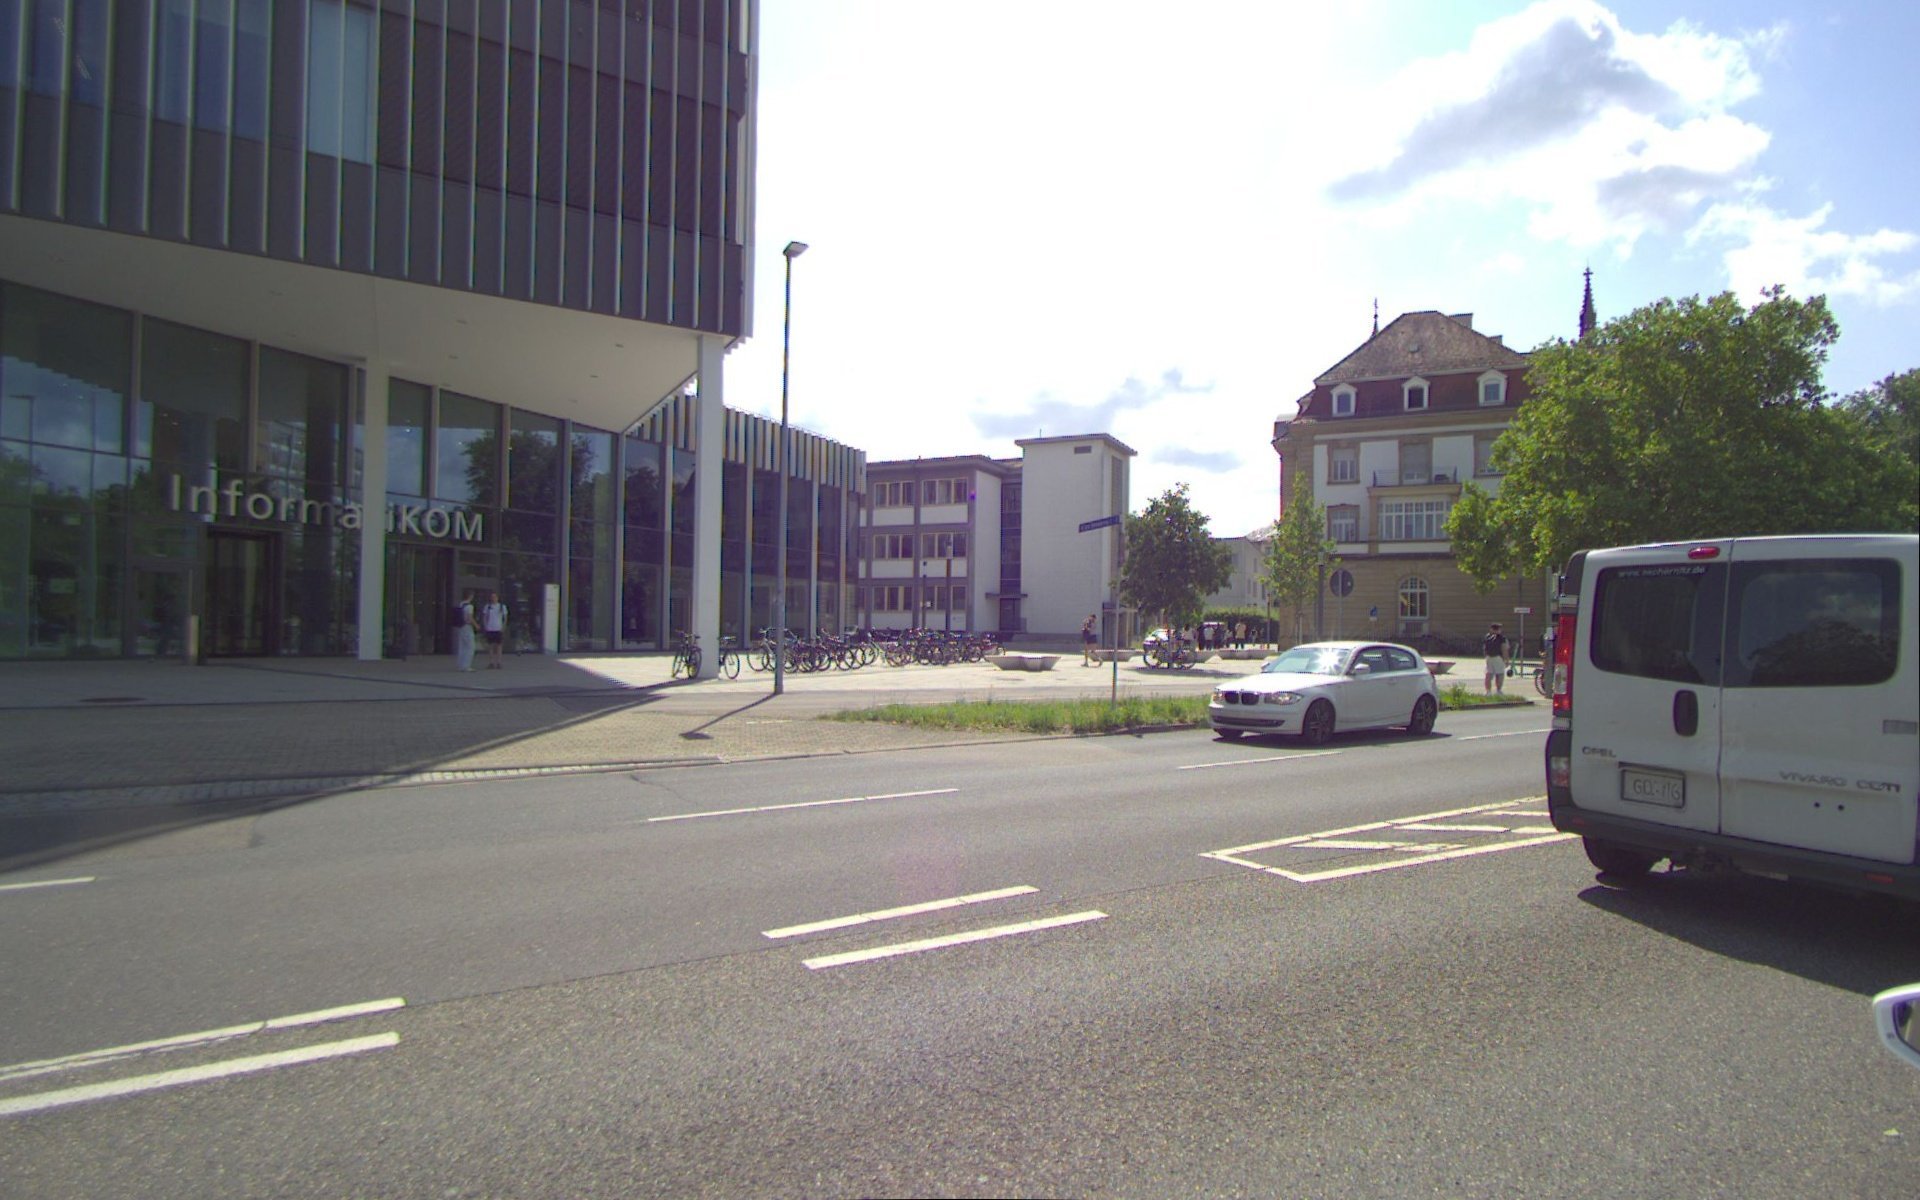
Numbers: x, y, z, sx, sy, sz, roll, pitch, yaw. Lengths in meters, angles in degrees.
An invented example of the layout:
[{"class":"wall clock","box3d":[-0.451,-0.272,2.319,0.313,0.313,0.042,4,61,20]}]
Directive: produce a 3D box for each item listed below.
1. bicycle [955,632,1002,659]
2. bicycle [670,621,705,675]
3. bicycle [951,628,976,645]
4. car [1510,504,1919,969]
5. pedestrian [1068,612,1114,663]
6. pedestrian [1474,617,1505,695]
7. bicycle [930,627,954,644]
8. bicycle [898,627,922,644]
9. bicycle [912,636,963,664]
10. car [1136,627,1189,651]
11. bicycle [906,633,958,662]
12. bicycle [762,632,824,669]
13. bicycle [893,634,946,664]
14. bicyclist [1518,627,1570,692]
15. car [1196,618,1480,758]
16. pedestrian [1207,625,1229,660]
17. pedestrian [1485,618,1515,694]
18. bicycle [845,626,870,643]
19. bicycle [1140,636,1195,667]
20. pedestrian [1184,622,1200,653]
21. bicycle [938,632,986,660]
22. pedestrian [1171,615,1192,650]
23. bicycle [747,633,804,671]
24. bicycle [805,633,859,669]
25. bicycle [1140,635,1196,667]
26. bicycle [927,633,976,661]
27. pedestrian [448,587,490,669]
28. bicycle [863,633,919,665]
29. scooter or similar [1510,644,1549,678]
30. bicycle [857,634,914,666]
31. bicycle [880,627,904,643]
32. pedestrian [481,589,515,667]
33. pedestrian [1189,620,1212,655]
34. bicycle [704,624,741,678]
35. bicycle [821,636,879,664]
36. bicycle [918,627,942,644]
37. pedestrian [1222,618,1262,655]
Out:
[{"class":"bicycle","box3d":[0.733,1.771,39.209,1.737,0.968,0.529,1,-1,8]},{"class":"bicycle","box3d":[-6.585,1.149,24.224,0.369,1.203,1.533,3,-1,-31]},{"class":"bicycle","box3d":[0.205,2.155,59.142,0.520,0.968,1.768,2,-1,34]},{"class":"car","box3d":[5.914,0.651,6.286,5.133,1.981,1.996,2,-1,-31]},{"class":"pedestrian","box3d":[4.392,1.243,33.730,1.003,1.672,1.173,2,-2,-30]},{"class":"pedestrian","box3d":[12.942,1.359,24.562,0.629,1.866,0.473,2,-1,-45]},{"class":"bicycle","box3d":[-1.053,2.107,59.543,0.520,0.968,1.770,2,-1,31]},{"class":"bicycle","box3d":[-3.021,2.136,60.631,0.520,0.968,1.770,2,-1,31]},{"class":"bicycle","box3d":[-0.815,1.802,36.318,1.737,0.968,0.529,1,-1,14]},{"class":"car","box3d":[12.542,2.370,61.996,1.963,1.323,4.488,2,0,28]},{"class":"bicycle","box3d":[-1.001,1.673,35.551,1.737,0.968,0.529,1,-1,14]},{"class":"bicycle","box3d":[-4.665,1.409,28.057,1.739,0.968,0.373,1,-1,21]},{"class":"bicycle","box3d":[-1.404,1.693,34.868,1.737,0.968,0.529,1,-1,14]},{"class":"bicyclist","box3d":[15.149,1.527,26.066,0.649,1.637,0.992,1,-1,-27]},{"class":"car","box3d":[5.839,1.240,15.293,4.684,1.835,1.714,2,-2,-35]},{"class":"pedestrian","box3d":[13.586,2.216,52.916,0.850,1.813,0.842,1,-1,-11]},{"class":"pedestrian","box3d":[13.466,1.381,25.063,0.570,1.866,0.411,2,-1,-35]},{"class":"bicycle","box3d":[-6.316,2.126,61.967,0.520,0.968,1.770,2,-1,31]},{"class":"bicycle","box3d":[6.866,1.691,33.241,1.737,0.968,0.529,1,-1,8]},{"class":"pedestrian","box3d":[13.943,2.249,60.387,0.667,1.813,0.840,0,-1,37]},{"class":"bicycle","box3d":[0.094,1.739,37.990,1.737,0.968,0.529,1,-1,8]},{"class":"pedestrian","box3d":[11.653,1.719,52.804,0.800,1.813,0.842,1,-1,-11]},{"class":"bicycle","box3d":[-4.990,1.392,27.167,1.516,0.968,0.373,1,-1,21]},{"class":"bicycle","box3d":[-3.775,1.495,29.624,1.747,0.968,0.526,1,-1,40]},{"class":"bicycle","box3d":[6.751,1.659,32.656,1.737,0.968,0.529,1,-1,8]},{"class":"bicycle","box3d":[-0.321,1.749,37.314,1.737,0.968,0.529,1,-1,8]},{"class":"pedestrian","box3d":[-11.496,0.651,23.524,0.507,1.866,0.789,2,-1,4]},{"class":"bicycle","box3d":[-2.292,1.613,33.254,1.738,0.968,0.529,1,-1,17]},{"class":"scooter or similar","box3d":[19.200,2.047,33.887,1.131,1.081,0.402,0,-1,33]},{"class":"bicycle","box3d":[-2.424,1.602,32.512,1.738,0.968,0.529,1,-1,17]},{"class":"bicycle","box3d":[-4.138,2.140,61.286,0.520,0.968,1.770,2,-1,31]},{"class":"pedestrian","box3d":[-11.407,0.687,24.810,0.668,1.866,0.687,2,-1,-23]},{"class":"pedestrian","box3d":[12.651,1.947,52.871,0.877,1.813,0.841,1,-1,-14]},{"class":"bicycle","box3d":[-5.784,1.221,24.425,0.369,1.203,1.533,3,-1,-31]},{"class":"bicycle","box3d":[-3.326,1.495,30.303,1.741,0.774,0.528,1,-1,28]},{"class":"bicycle","box3d":[-1.788,2.135,60.204,0.520,0.968,1.770,2,-1,31]},{"class":"pedestrian","box3d":[12.995,1.668,46.305,1.279,1.673,1.321,1,-1,-18]}]
